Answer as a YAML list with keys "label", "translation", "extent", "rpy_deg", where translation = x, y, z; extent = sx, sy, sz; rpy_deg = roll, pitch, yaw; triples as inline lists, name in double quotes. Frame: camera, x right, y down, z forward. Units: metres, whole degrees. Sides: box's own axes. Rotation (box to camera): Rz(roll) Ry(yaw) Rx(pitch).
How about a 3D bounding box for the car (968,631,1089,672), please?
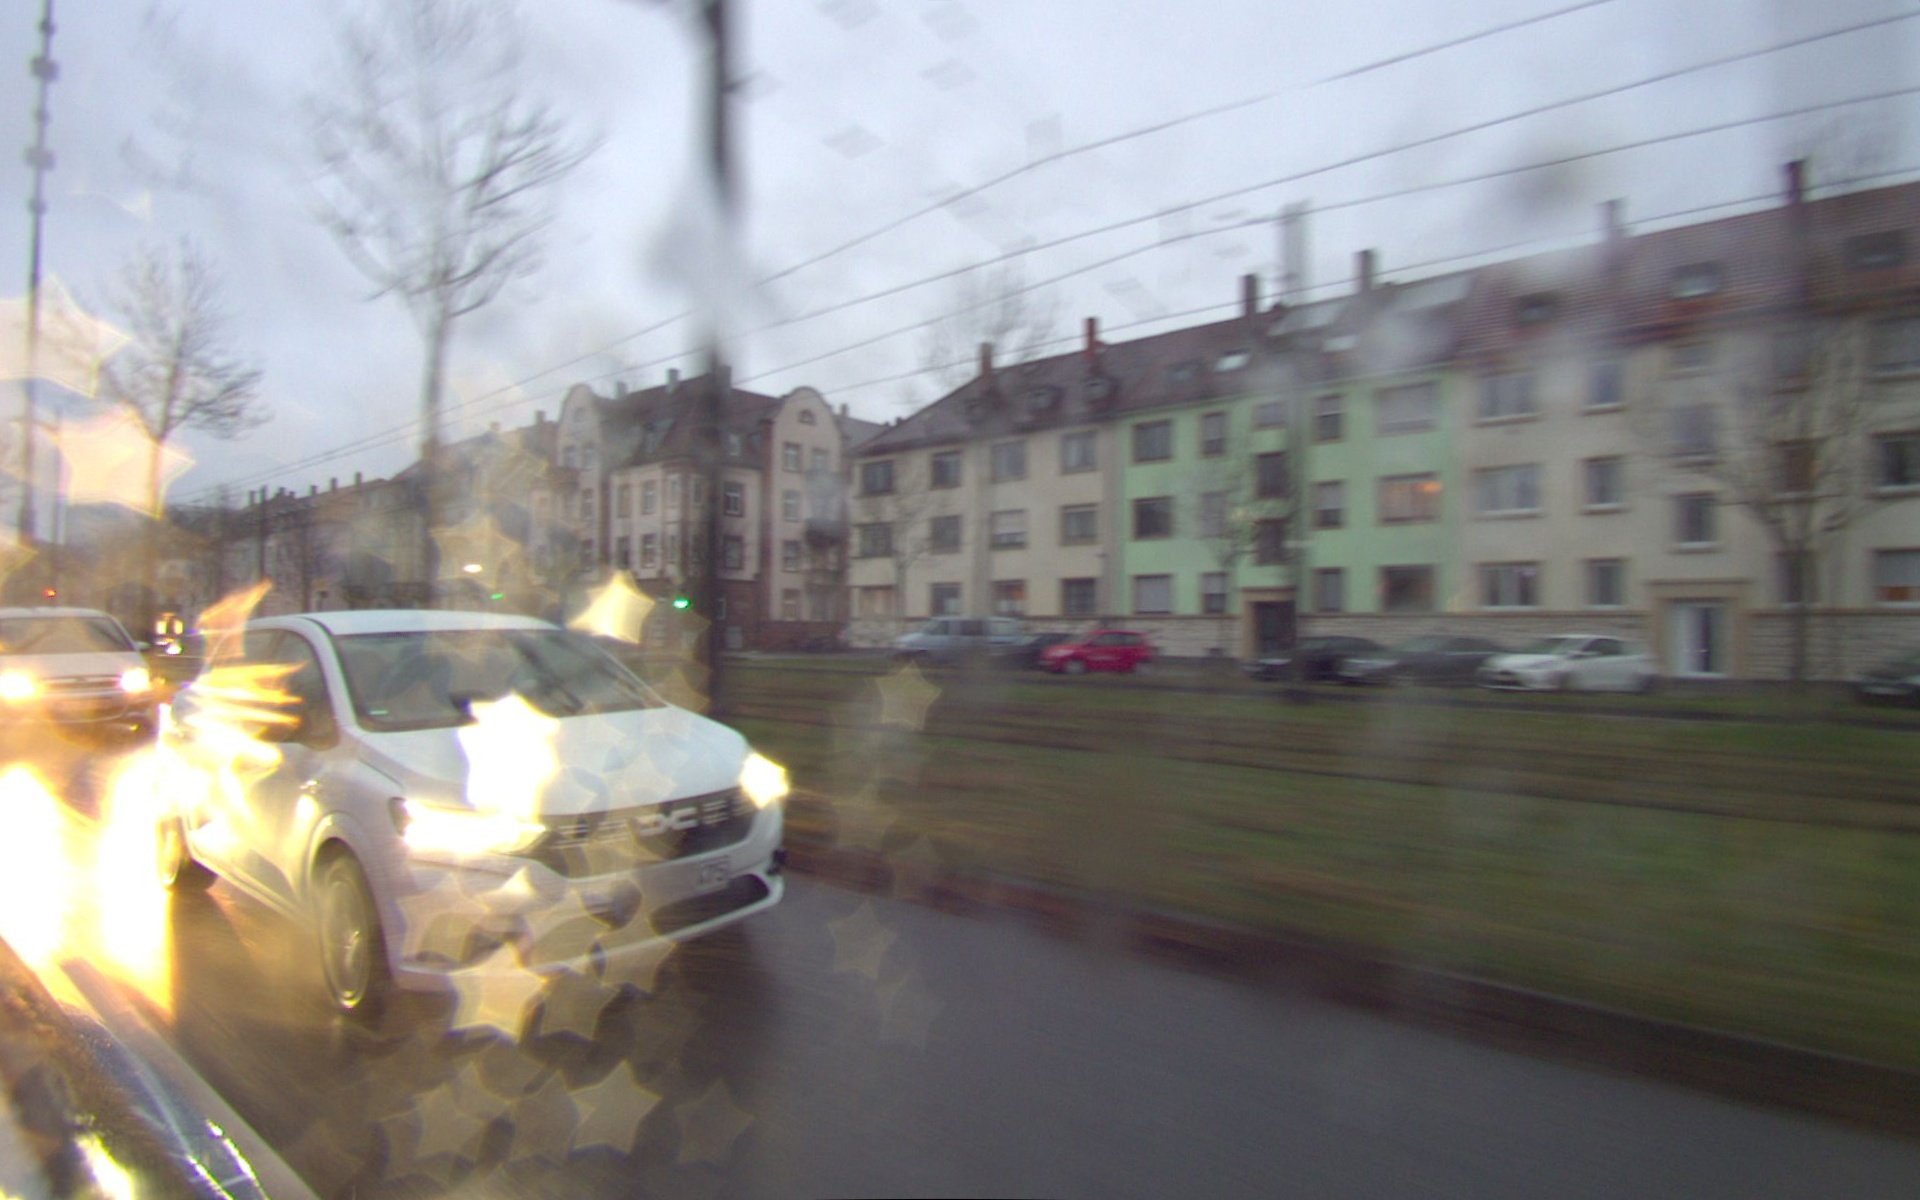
- label: "car"
  translation: [2.224, 1.656, 33.090]
  extent: [3.510, 1.149, 1.742]
  rpy_deg: [-1, 0, -18]

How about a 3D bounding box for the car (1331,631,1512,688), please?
- label: "car"
  translation: [11.411, 1.444, 25.087]
  extent: [3.758, 1.181, 1.742]
  rpy_deg: [-1, 0, -13]

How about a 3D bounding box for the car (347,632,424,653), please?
- label: "car"
  translation: [-39.079, 2.867, 68.964]
  extent: [4.197, 1.267, 1.837]
  rpy_deg: [-1, 0, -10]

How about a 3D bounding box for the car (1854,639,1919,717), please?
- label: "car"
  translation: [18.988, 1.453, 19.230]
  extent: [2.886, 1.346, 1.743]
  rpy_deg: [-1, 0, -18]

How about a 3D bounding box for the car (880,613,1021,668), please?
- label: "car"
  translation: [-0.344, 1.392, 35.721]
  extent: [4.579, 1.736, 1.839]
  rpy_deg: [-1, 0, -17]

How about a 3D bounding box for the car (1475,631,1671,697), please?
- label: "car"
  translation: [14.069, 1.428, 23.288]
  extent: [3.778, 1.255, 1.743]
  rpy_deg: [-1, 0, -17]

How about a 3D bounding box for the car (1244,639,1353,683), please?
- label: "car"
  translation: [9.076, 1.617, 27.180]
  extent: [2.351, 1.056, 1.441]
  rpy_deg: [-1, -1, -18]

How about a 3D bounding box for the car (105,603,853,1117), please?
- label: "car"
  translation: [-2.536, 0.791, 4.874]
  extent: [3.996, 1.485, 1.672]
  rpy_deg: [-1, 0, 39]

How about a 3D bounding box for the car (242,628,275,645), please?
- label: "car"
  translation: [-59.435, 3.108, 85.721]
  extent: [3.909, 1.350, 1.449]
  rpy_deg: [-1, 0, 42]

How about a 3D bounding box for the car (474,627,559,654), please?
- label: "car"
  translation: [-24.676, 2.244, 56.469]
  extent: [4.038, 1.169, 1.716]
  rpy_deg: [-2, 2, -12]

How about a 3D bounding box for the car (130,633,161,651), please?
- label: "car"
  translation: [-74.576, 3.799, 92.605]
  extent: [3.781, 1.516, 1.530]
  rpy_deg: [-1, 0, 40]

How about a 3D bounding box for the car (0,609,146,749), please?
- label: "car"
  translation: [-11.804, 0.909, 12.897]
  extent: [3.906, 1.531, 1.617]
  rpy_deg: [-1, 0, 42]

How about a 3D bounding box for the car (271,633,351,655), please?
- label: "car"
  translation: [-47.138, 3.168, 73.534]
  extent: [4.585, 1.443, 1.699]
  rpy_deg: [-1, 0, -14]

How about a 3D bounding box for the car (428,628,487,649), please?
- label: "car"
  translation: [-29.972, 2.291, 60.415]
  extent: [2.870, 0.997, 1.800]
  rpy_deg: [-3, 2, -16]

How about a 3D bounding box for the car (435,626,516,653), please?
- label: "car"
  translation: [-27.800, 2.245, 58.192]
  extent: [3.977, 1.239, 1.352]
  rpy_deg: [-3, 2, -14]

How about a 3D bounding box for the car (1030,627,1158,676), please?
- label: "car"
  translation: [4.161, 1.579, 31.477]
  extent: [3.519, 1.319, 1.692]
  rpy_deg: [-1, 0, -18]
